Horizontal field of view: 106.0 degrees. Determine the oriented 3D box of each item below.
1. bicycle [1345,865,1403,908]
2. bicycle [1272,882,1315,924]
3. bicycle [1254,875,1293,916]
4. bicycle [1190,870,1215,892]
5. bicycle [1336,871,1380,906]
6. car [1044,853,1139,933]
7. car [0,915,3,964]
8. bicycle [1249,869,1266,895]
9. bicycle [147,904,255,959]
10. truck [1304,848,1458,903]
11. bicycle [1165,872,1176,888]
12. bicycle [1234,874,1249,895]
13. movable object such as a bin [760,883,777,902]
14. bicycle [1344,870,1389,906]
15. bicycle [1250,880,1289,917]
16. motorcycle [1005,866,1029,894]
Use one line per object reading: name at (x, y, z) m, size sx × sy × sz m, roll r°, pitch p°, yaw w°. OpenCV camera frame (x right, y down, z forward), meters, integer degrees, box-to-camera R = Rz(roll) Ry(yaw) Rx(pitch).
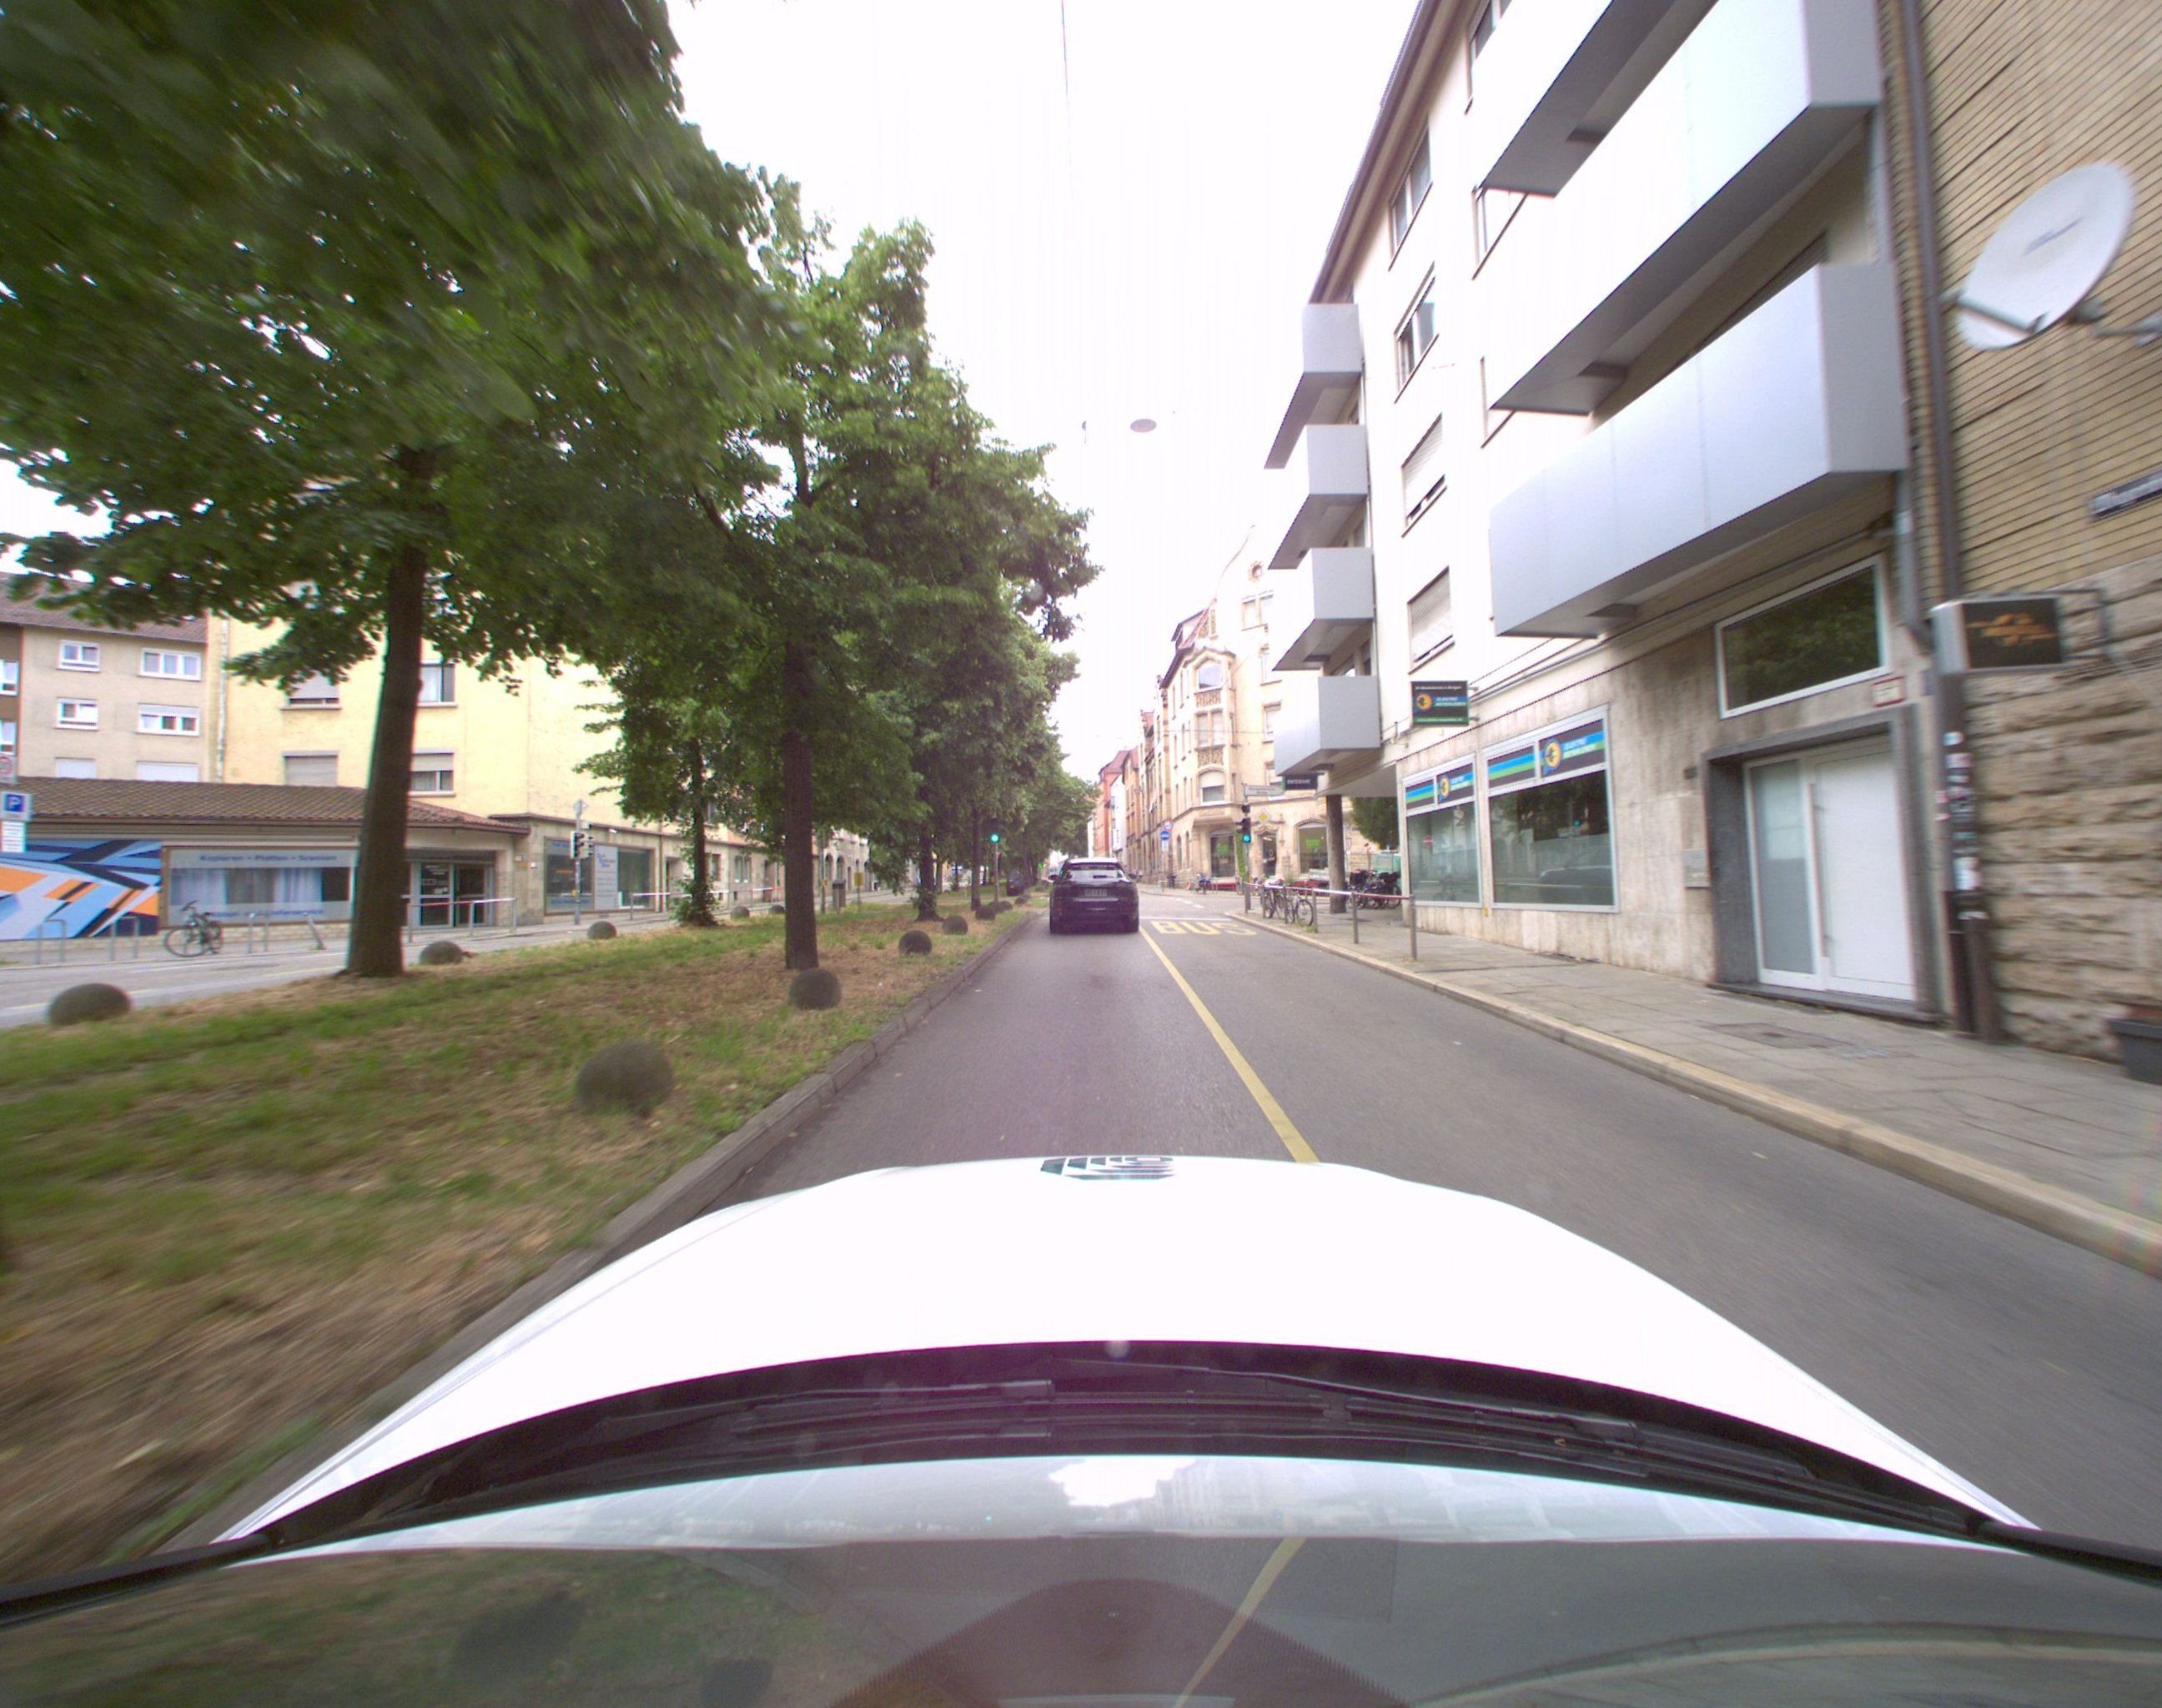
bicycle at (8.497, 0.950, 23.662) m, size 0.320 × 1.199 × 1.743 m, roll 0°, pitch -2°, yaw -31°
bicycle at (4.992, 1.128, 19.229) m, size 0.567 × 0.931 × 1.775 m, roll -1°, pitch -2°, yaw 1°
bicycle at (5.146, 1.107, 21.884) m, size 0.286 × 1.054 × 1.753 m, roll 0°, pitch -2°, yaw -12°
bicycle at (6.523, 1.462, 43.881) m, size 0.876 × 1.129 × 2.979 m, roll -1°, pitch -2°, yaw 1°
bicycle at (8.489, 1.056, 25.016) m, size 0.319 × 1.043 × 1.751 m, roll 0°, pitch -2°, yaw -17°
car at (0.234, 0.849, 19.125) m, size 1.987 × 1.665 × 3.999 m, roll -1°, pitch -1°, yaw 0°
car at (-23.911, 1.644, 15.239) m, size 4.056 × 1.479 × 1.803 m, roll -4°, pitch 0°, yaw -32°
bicycle at (9.070, 1.412, 41.856) m, size 0.445 × 1.161 × 1.834 m, roll -2°, pitch 4°, yaw -1°
bicycle at (-19.276, 1.663, 17.907) m, size 0.765 × 1.085 × 2.022 m, roll 0°, pitch -2°, yaw -21°
truck at (12.282, 0.882, 33.535) m, size 5.558 × 2.133 × 2.374 m, roll 1°, pitch -1°, yaw -9°
bicycle at (6.032, 1.736, 55.032) m, size 0.445 × 1.037 × 2.247 m, roll -2°, pitch -2°, yaw -1°
bicycle at (8.296, 1.568, 42.154) m, size 0.348 × 1.059 × 1.833 m, roll 1°, pitch -1°, yaw -1°
movable object such as a bin at (-17.815, 2.218, 46.427) m, size 0.690 × 1.060 × 0.689 m, roll -1°, pitch -2°, yaw -4°
bicycle at (8.786, 1.039, 25.115) m, size 0.319 × 1.043 × 1.751 m, roll 0°, pitch -2°, yaw -17°
bicycle at (4.959, 1.163, 21.567) m, size 0.286 × 0.931 × 1.753 m, roll 0°, pitch -2°, yaw -12°
motorcycle at (-3.511, 1.444, 44.891) m, size 1.016 × 1.446 × 2.247 m, roll -3°, pitch -2°, yaw 1°
